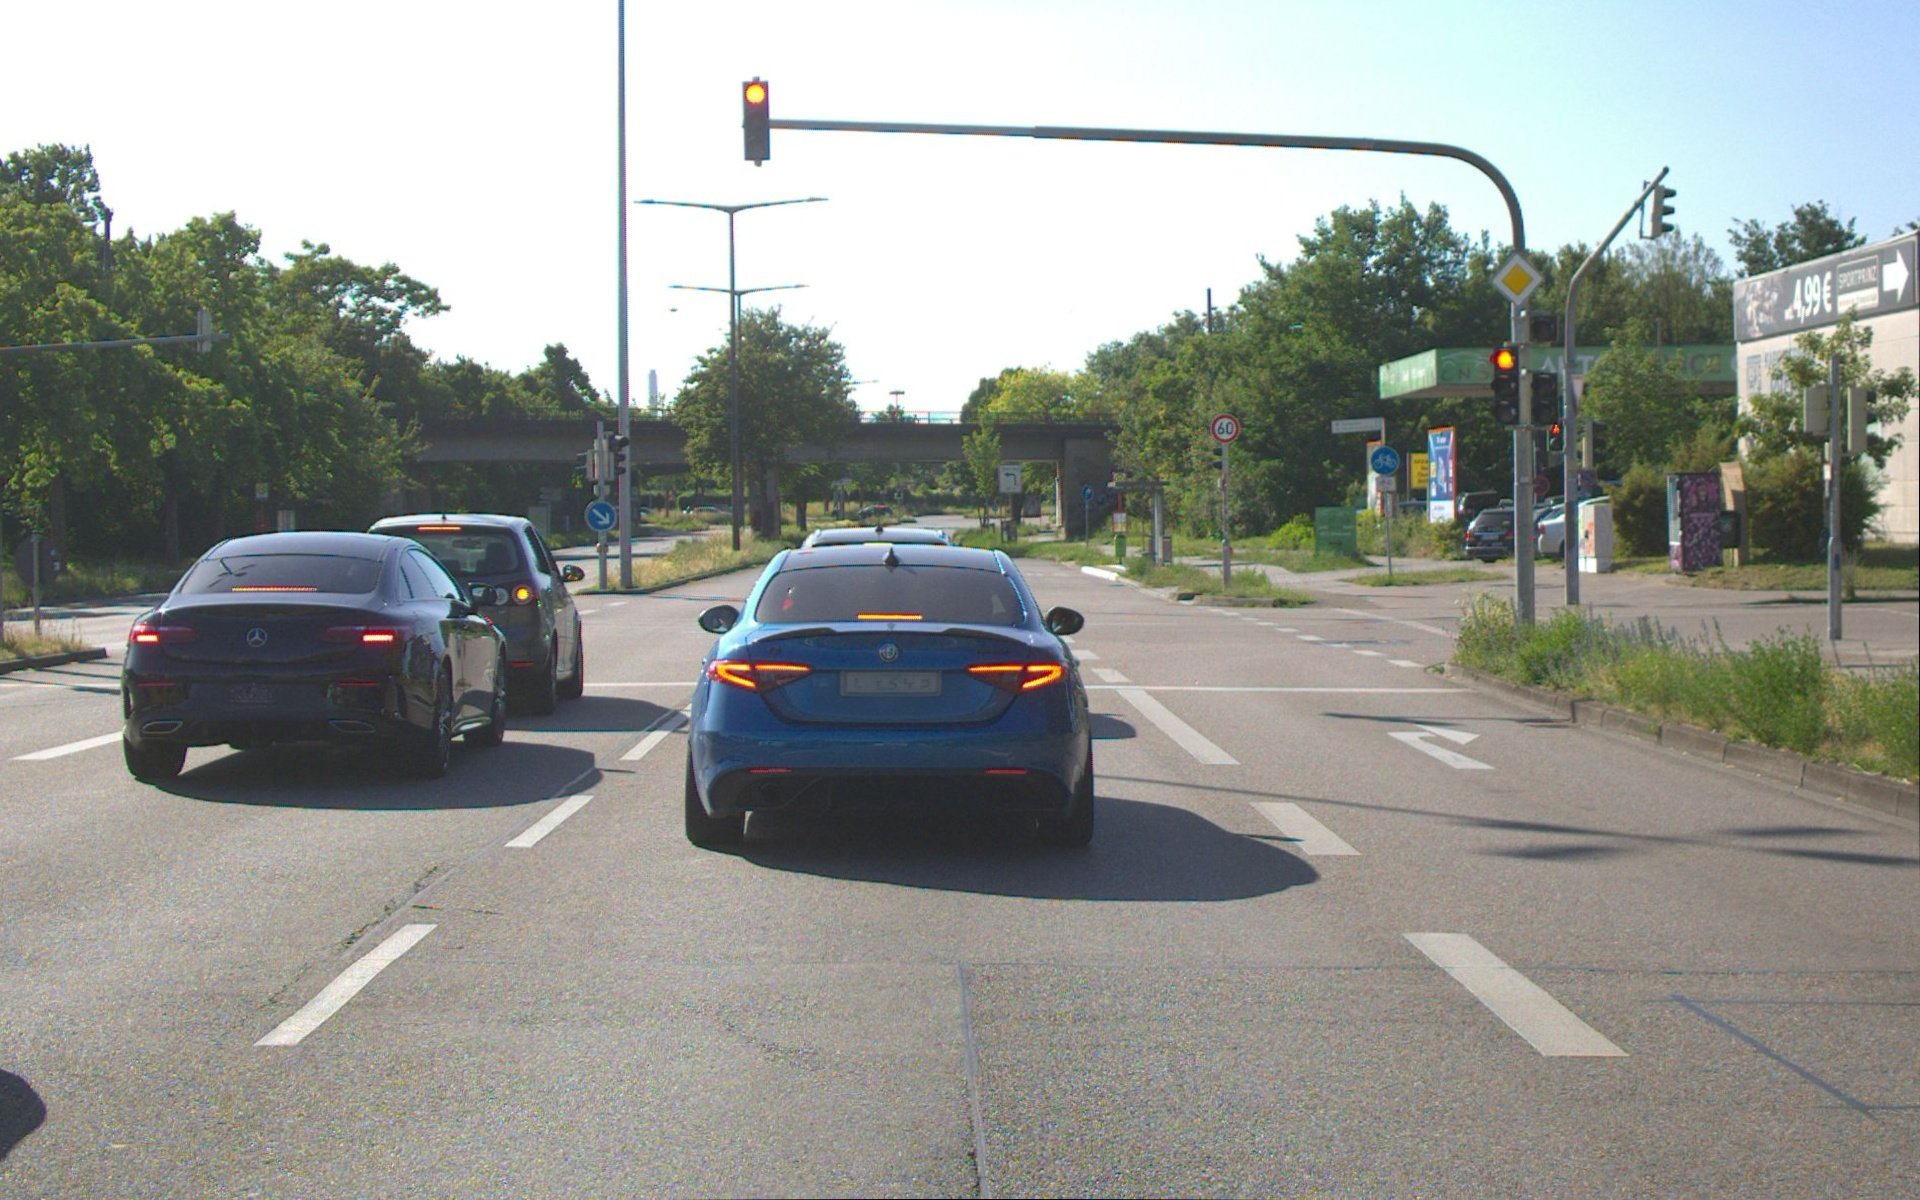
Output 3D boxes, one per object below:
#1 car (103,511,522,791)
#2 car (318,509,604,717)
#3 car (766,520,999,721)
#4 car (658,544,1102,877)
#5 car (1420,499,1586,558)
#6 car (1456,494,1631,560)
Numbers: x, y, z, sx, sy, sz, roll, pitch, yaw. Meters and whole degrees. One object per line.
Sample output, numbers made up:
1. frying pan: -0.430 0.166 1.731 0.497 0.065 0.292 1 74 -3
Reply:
1. car: -3.877 0.232 21.314 1.812 1.546 4.544 0 1 -1
2. car: -3.987 0.070 28.113 1.812 1.546 4.354 1 1 -2
3. car: -0.566 0.133 27.845 1.704 1.492 3.719 1 1 1
4. car: -0.309 0.455 16.787 1.910 1.418 3.719 1 1 1
5. car: 14.814 -1.941 93.887 3.986 1.546 2.001 1 1 -17
6. car: 14.446 -1.798 85.307 3.987 1.546 2.000 1 1 1
